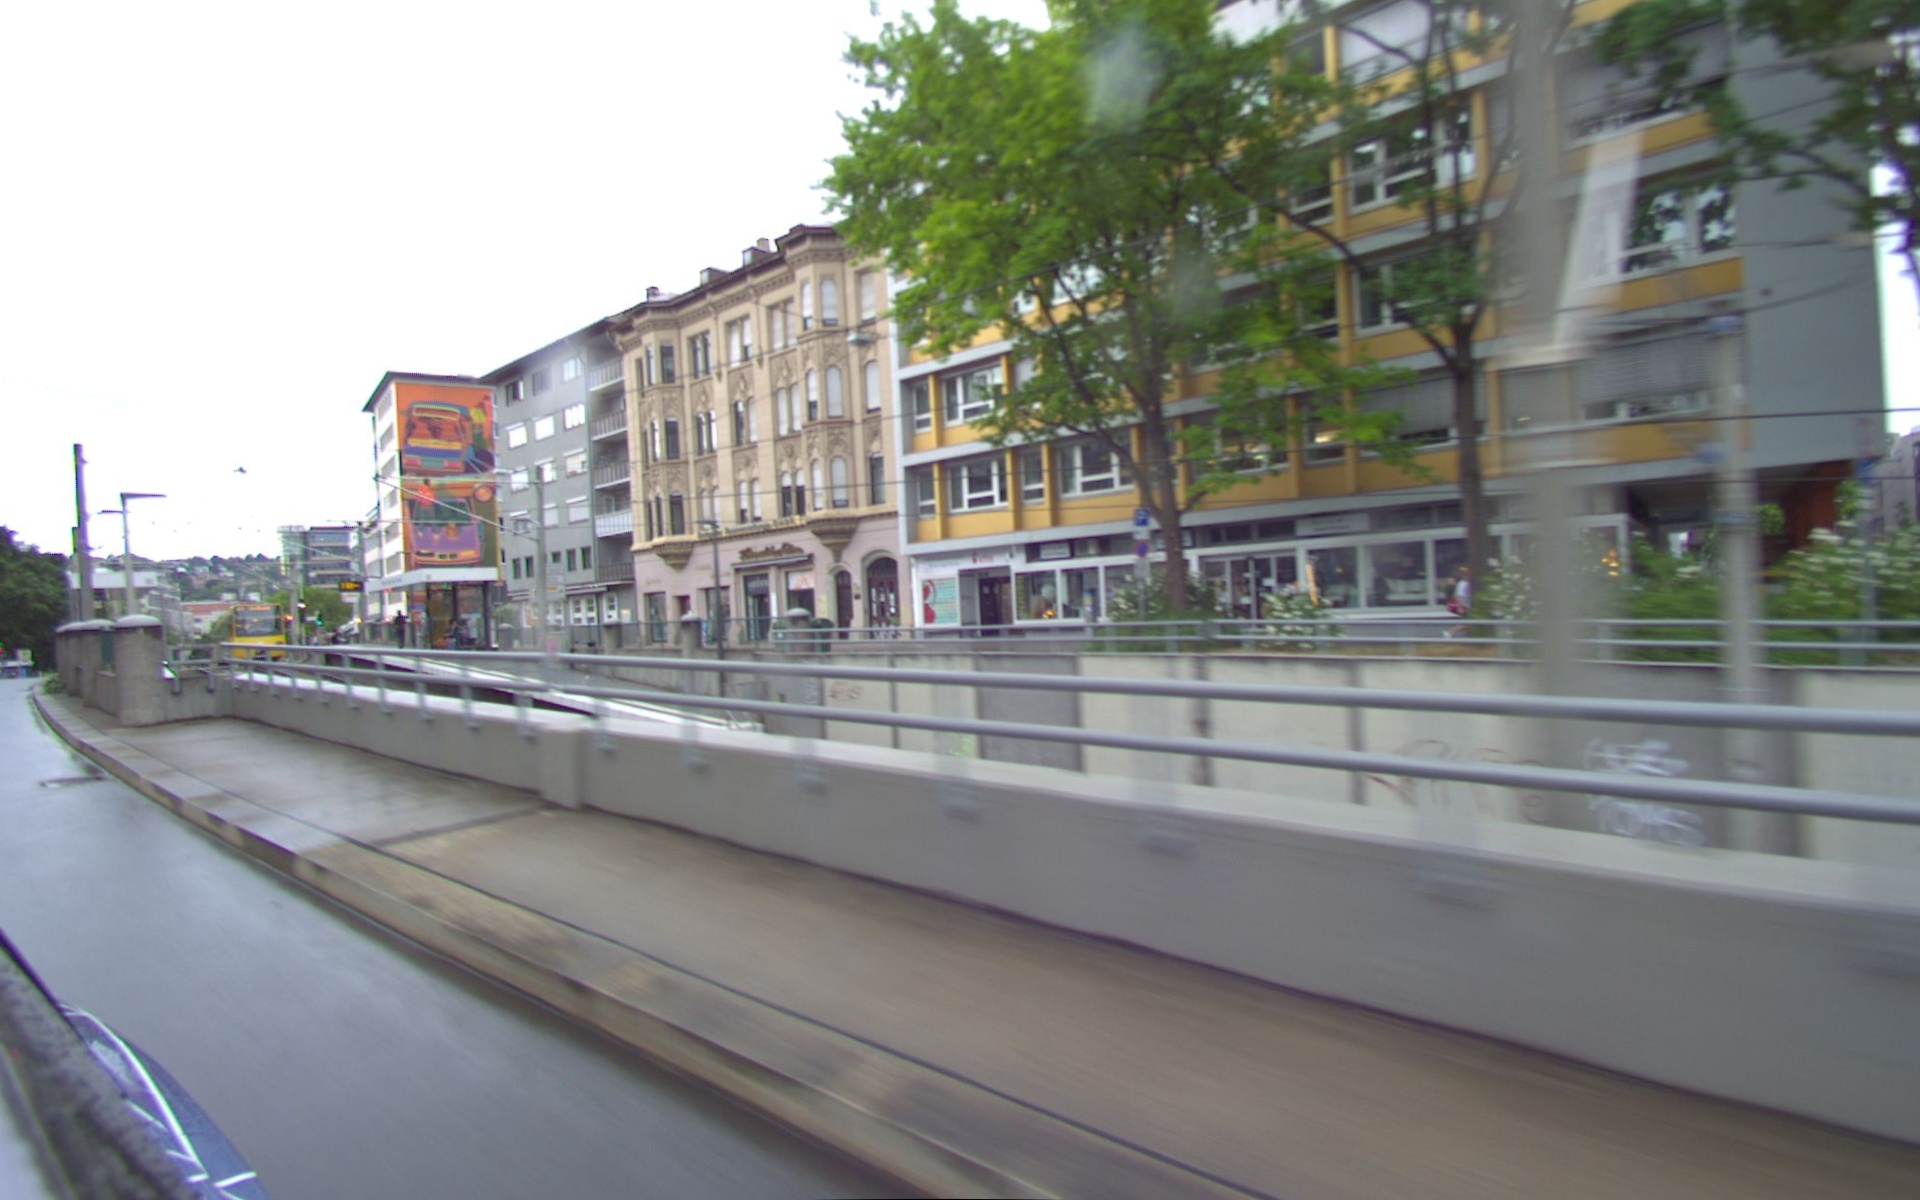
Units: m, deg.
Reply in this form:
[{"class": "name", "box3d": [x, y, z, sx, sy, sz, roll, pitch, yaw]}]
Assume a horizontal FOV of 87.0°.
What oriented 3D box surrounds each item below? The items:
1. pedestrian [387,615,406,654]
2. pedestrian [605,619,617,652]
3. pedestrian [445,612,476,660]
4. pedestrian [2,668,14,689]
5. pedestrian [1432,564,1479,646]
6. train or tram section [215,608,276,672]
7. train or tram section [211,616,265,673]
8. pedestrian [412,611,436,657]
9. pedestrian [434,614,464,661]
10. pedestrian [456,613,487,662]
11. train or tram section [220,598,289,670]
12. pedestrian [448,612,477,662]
[{"class": "pedestrian", "box3d": [-23.336, 1.427, 41.888, 0.550, 1.549, 0.517, -2, 0, -41]}, {"class": "pedestrian", "box3d": [-18.606, 1.891, 53.964, 0.415, 1.695, 0.609, -4, -1, -30]}, {"class": "pedestrian", "box3d": [-17.803, 1.306, 36.060, 0.761, 1.661, 0.779, 5, -5, -37]}, {"class": "pedestrian", "box3d": [-79.413, 6.564, 84.423, 0.551, 1.636, 0.486, -4, -3, -36]}, {"class": "pedestrian", "box3d": [11.603, 0.127, 23.700, 0.830, 1.863, 0.658, -2, -2, 42]}, {"class": "train or tram section", "box3d": [-48.609, 2.798, 68.716, 2.743, 3.719, 9.528, -4, -2, -38]}, {"class": "train or tram section", "box3d": [-54.452, 3.463, 76.248, 2.743, 3.719, 9.528, -4, -2, -38]}, {"class": "pedestrian", "box3d": [-20.071, 1.281, 37.876, 0.624, 1.673, 0.684, -3, -1, -38]}, {"class": "pedestrian", "box3d": [-18.584, 1.364, 36.794, 0.761, 1.661, 0.779, 5, -5, -37]}, {"class": "pedestrian", "box3d": [-17.156, 1.327, 35.517, 0.761, 1.661, 0.779, 5, -5, -37]}, {"class": "train or tram section", "box3d": [-42.708, 2.134, 61.117, 2.743, 3.719, 9.733, -4, -2, -38]}, {"class": "pedestrian", "box3d": [-16.993, 1.276, 34.582, 0.668, 1.661, 0.897, 4, -5, -37]}]
